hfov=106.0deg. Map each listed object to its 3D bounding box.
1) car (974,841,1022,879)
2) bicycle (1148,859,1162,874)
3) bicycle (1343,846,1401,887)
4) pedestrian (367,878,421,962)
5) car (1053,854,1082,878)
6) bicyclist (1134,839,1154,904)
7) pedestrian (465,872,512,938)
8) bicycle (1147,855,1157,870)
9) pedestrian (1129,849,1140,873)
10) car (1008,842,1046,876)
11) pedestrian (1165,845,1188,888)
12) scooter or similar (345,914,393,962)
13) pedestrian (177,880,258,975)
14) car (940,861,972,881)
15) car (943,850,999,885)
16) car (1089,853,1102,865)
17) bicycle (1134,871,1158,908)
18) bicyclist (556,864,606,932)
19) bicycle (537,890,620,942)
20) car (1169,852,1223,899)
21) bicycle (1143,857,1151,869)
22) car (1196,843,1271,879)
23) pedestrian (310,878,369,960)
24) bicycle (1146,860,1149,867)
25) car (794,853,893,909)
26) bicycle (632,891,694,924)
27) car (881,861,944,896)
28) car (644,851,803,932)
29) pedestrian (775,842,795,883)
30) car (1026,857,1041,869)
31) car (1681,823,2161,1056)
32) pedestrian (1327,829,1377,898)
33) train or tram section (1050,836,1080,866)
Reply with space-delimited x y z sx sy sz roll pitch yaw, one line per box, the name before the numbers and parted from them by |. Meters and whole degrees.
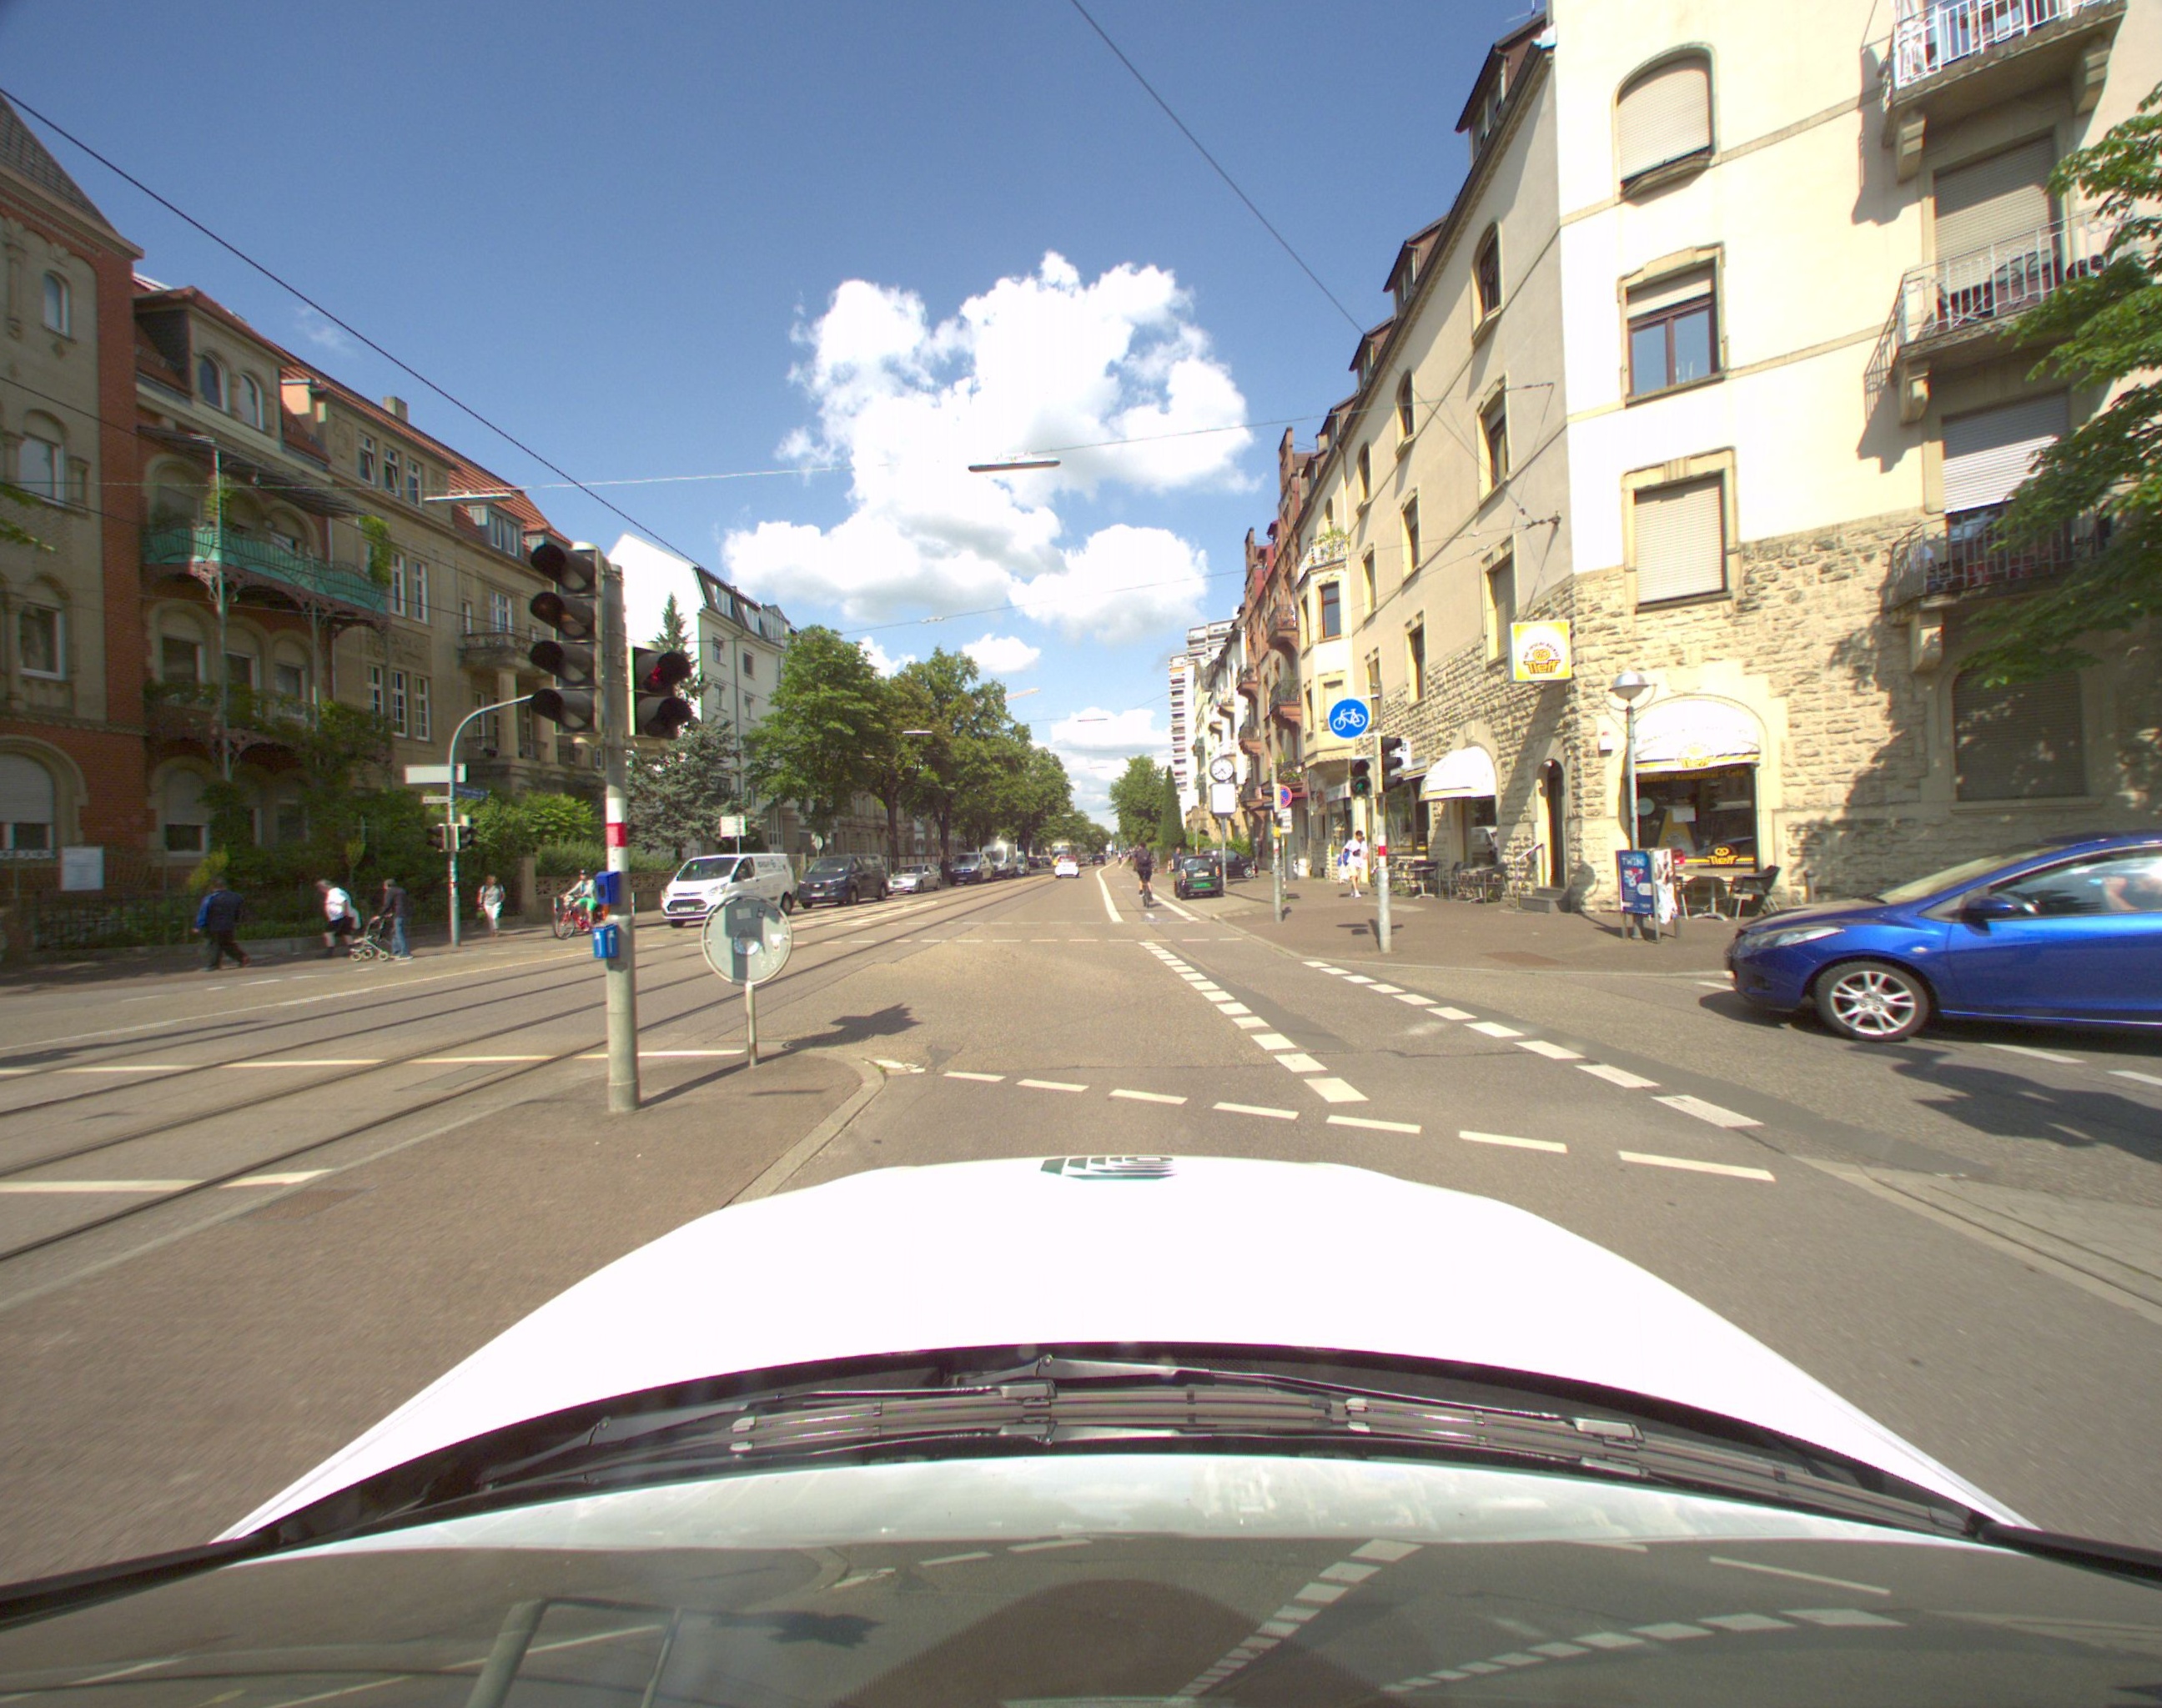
car | -5.805 0.380 57.847 2.305 2.507 6.370 -2 0 4
bicycle | 5.225 0.896 57.539 0.597 0.961 3.066 -6 0 0
bicycle | 8.785 0.377 24.742 0.802 1.177 2.752 0 -1 0
pedestrian | -14.076 1.330 16.706 0.520 1.657 0.749 0 -1 -11
car | -0.894 0.825 56.159 1.657 1.625 3.625 0 -1 5
bicyclist | 1.930 0.524 25.038 0.604 1.948 1.131 0 -1 3
pedestrian | -15.202 1.289 20.899 0.515 1.657 0.821 -1 -1 23
bicycle | 6.102 0.711 70.241 0.737 1.231 2.518 -2 -1 3
pedestrian | 4.220 0.575 64.039 0.786 1.861 0.579 -2 -1 -4
car | -4.263 0.382 65.746 2.307 2.507 6.366 -2 0 2
pedestrian | 4.286 0.570 36.605 0.658 1.841 0.872 -6 0 -5
scooter or similar | -14.520 1.701 16.613 0.548 0.922 0.498 0 -1 -11
pedestrian | -16.166 1.351 15.270 0.622 1.698 0.846 0 -1 -9
car | -9.919 1.339 65.073 1.619 1.472 4.210 0 1 4
car | -6.698 0.829 50.242 1.975 1.963 5.190 -2 -1 8
car | 2.026 0.752 115.485 1.658 1.624 3.624 -2 0 3
bicycle | 1.976 1.073 24.995 0.613 1.045 1.837 -5 -3 3
bicyclist | -12.685 1.110 20.680 0.835 1.696 0.673 0 -1 1
bicycle | -12.702 1.540 20.674 0.842 1.160 1.956 1 0 2
car | 4.094 0.728 29.362 1.508 1.498 2.795 -5 0 1
bicycle | 5.975 0.810 73.722 0.608 0.996 2.364 -5 -1 3
car | 7.453 0.346 40.168 3.385 1.524 1.975 -4 -1 5
pedestrian | -15.497 1.337 17.040 0.611 1.657 0.723 0 0 -11
bicycle | 6.775 0.993 83.016 0.278 0.677 1.560 -5 -1 3
car | -9.091 0.986 31.677 1.919 1.917 5.129 -4 -1 4
bicycle | -13.839 1.744 27.029 0.994 0.933 1.861 2 1 2
car | -8.209 1.150 40.017 1.684 1.480 4.489 -3 0 6
car | -10.191 0.971 23.764 1.985 1.995 5.094 -4 0 4
pedestrian | -14.765 0.425 40.678 0.479 2.014 0.810 -1 -1 36
car | -6.711 1.300 115.765 1.743 1.665 4.723 0 -1 2
car | 6.916 0.524 5.970 3.948 1.419 1.904 -2 0 38
pedestrian | 7.310 0.249 22.041 1.006 1.768 0.851 -4 0 4
train or tram section | -1.927 -0.240 104.227 2.641 3.436 12.326 -4 -1 4
